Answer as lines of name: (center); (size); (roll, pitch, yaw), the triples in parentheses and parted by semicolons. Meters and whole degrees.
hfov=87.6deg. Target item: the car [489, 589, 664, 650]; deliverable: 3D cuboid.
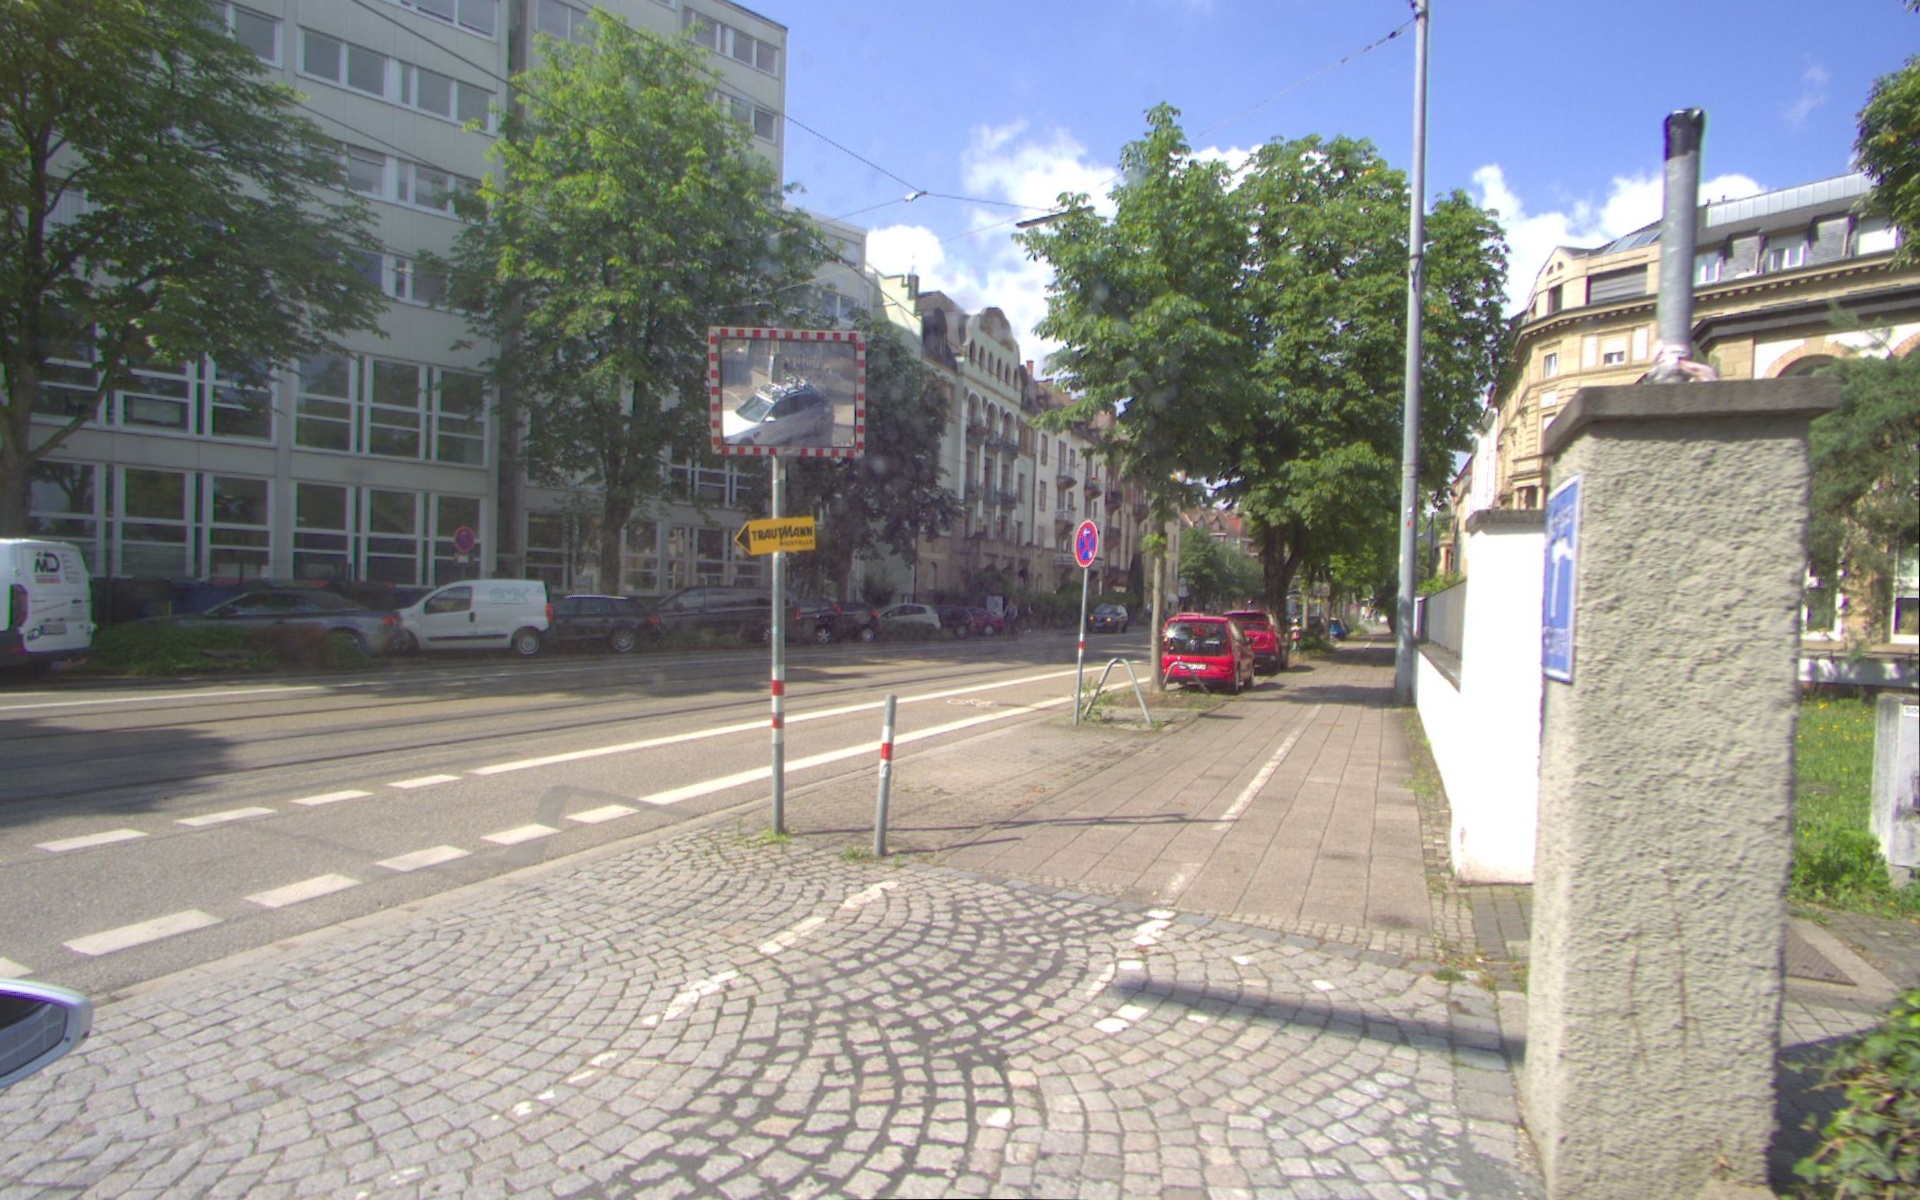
car: (-9.521, 0.484, 24.989); (3.934, 1.436, 1.755); (0, -1, -23)

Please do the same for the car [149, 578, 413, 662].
car: (-12.614, 0.374, 18.920); (3.940, 1.436, 1.714); (1, -1, -28)

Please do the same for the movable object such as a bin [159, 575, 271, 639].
movable object such as a bin: (-16.794, 0.181, 22.601); (1.367, 1.381, 1.536); (-1, -1, 20)

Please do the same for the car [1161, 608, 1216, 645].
car: (10.611, 1.188, 46.193); (1.759, 1.512, 4.872); (2, 0, 21)

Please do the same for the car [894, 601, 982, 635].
car: (-1.031, 0.838, 46.163); (3.739, 1.503, 1.695); (0, -1, -16)

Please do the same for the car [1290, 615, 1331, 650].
car: (16.997, 1.540, 48.434); (1.673, 1.611, 4.193); (1, -1, 22)

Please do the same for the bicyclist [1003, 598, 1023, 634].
bicyclist: (2.386, 0.740, 45.042); (0.633, 1.597, 0.739); (2, 0, 29)

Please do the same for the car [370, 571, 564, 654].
car: (-10.748, 0.286, 22.101); (3.652, 1.715, 1.756); (0, -1, -20)

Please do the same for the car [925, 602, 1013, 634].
car: (0.427, 0.893, 48.997); (3.902, 1.503, 1.842); (0, -1, -20)

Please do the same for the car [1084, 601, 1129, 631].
car: (9.225, 0.982, 62.720); (1.759, 1.786, 4.872); (2, 0, 21)

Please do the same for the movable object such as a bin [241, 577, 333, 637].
movable object such as a bin: (-16.205, 0.185, 24.157); (1.176, 1.398, 1.439); (-1, -1, 20)

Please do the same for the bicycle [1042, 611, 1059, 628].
bicycle: (5.491, 1.197, 60.722); (0.377, 0.972, 1.804); (4, 1, 25)

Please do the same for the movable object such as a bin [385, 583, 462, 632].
movable object such as a bin: (-14.547, 0.219, 27.176); (1.152, 1.300, 1.438); (-1, -1, 23)

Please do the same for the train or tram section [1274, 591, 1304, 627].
train or tram section: (34.763, 0.991, 105.665); (2.614, 3.573, 8.480); (2, -1, 20)

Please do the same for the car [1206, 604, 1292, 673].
car: (7.850, 0.980, 26.935); (1.849, 1.698, 4.273); (1, -1, 21)

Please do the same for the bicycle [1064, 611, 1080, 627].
bicycle: (7.224, 1.227, 64.568); (0.377, 0.972, 1.915); (4, 1, 25)

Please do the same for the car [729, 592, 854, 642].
car: (-5.724, 0.590, 34.007); (3.933, 1.613, 1.736); (0, -1, -21)

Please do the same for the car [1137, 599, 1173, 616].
car: (19.914, 0.783, 102.072); (3.194, 1.533, 1.673); (4, 1, 27)

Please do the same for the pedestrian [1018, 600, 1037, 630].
pedestrian: (3.696, 0.814, 54.634); (0.671, 1.589, 0.879); (5, 1, 26)

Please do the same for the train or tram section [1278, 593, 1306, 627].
train or tram section: (37.700, 1.180, 113.643); (2.614, 3.573, 8.480); (2, -1, 20)

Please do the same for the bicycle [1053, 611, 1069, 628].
bicycle: (6.335, 1.212, 62.629); (0.377, 0.972, 1.804); (4, 1, 25)

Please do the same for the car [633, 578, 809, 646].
car: (-7.394, 0.372, 30.967); (5.083, 1.980, 1.911); (0, -1, -23)

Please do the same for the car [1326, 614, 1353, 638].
car: (24.774, 1.697, 65.317); (1.617, 1.515, 3.618); (1, 0, 22)

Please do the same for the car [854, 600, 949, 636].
car: (-2.533, 0.792, 43.218); (3.744, 1.503, 1.693); (0, -1, -22)

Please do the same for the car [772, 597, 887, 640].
car: (-4.815, 0.680, 36.856); (3.931, 1.503, 1.737); (0, -1, -19)

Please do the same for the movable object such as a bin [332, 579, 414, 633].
movable object such as a bin: (-15.109, 0.172, 25.819); (1.148, 1.344, 1.438); (-1, -1, 22)

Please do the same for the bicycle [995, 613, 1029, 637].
bicycle: (2.356, 1.137, 45.038); (0.647, 1.054, 1.992); (2, -1, 30)

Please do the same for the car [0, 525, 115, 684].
car: (-14.349, -0.015, 13.077); (4.605, 2.024, 1.964); (2, 0, -18)

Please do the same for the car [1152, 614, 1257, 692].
car: (5.077, 1.035, 20.482); (1.578, 1.447, 3.588); (-1, -2, 22)

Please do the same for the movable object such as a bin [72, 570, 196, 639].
movable object such as a bin: (-17.354, 0.119, 21.079); (1.367, 1.381, 1.536); (-1, -1, 20)

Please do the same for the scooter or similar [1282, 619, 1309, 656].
scooter or similar: (11.693, 1.290, 34.889); (1.246, 1.253, 0.339); (1, -1, -43)
